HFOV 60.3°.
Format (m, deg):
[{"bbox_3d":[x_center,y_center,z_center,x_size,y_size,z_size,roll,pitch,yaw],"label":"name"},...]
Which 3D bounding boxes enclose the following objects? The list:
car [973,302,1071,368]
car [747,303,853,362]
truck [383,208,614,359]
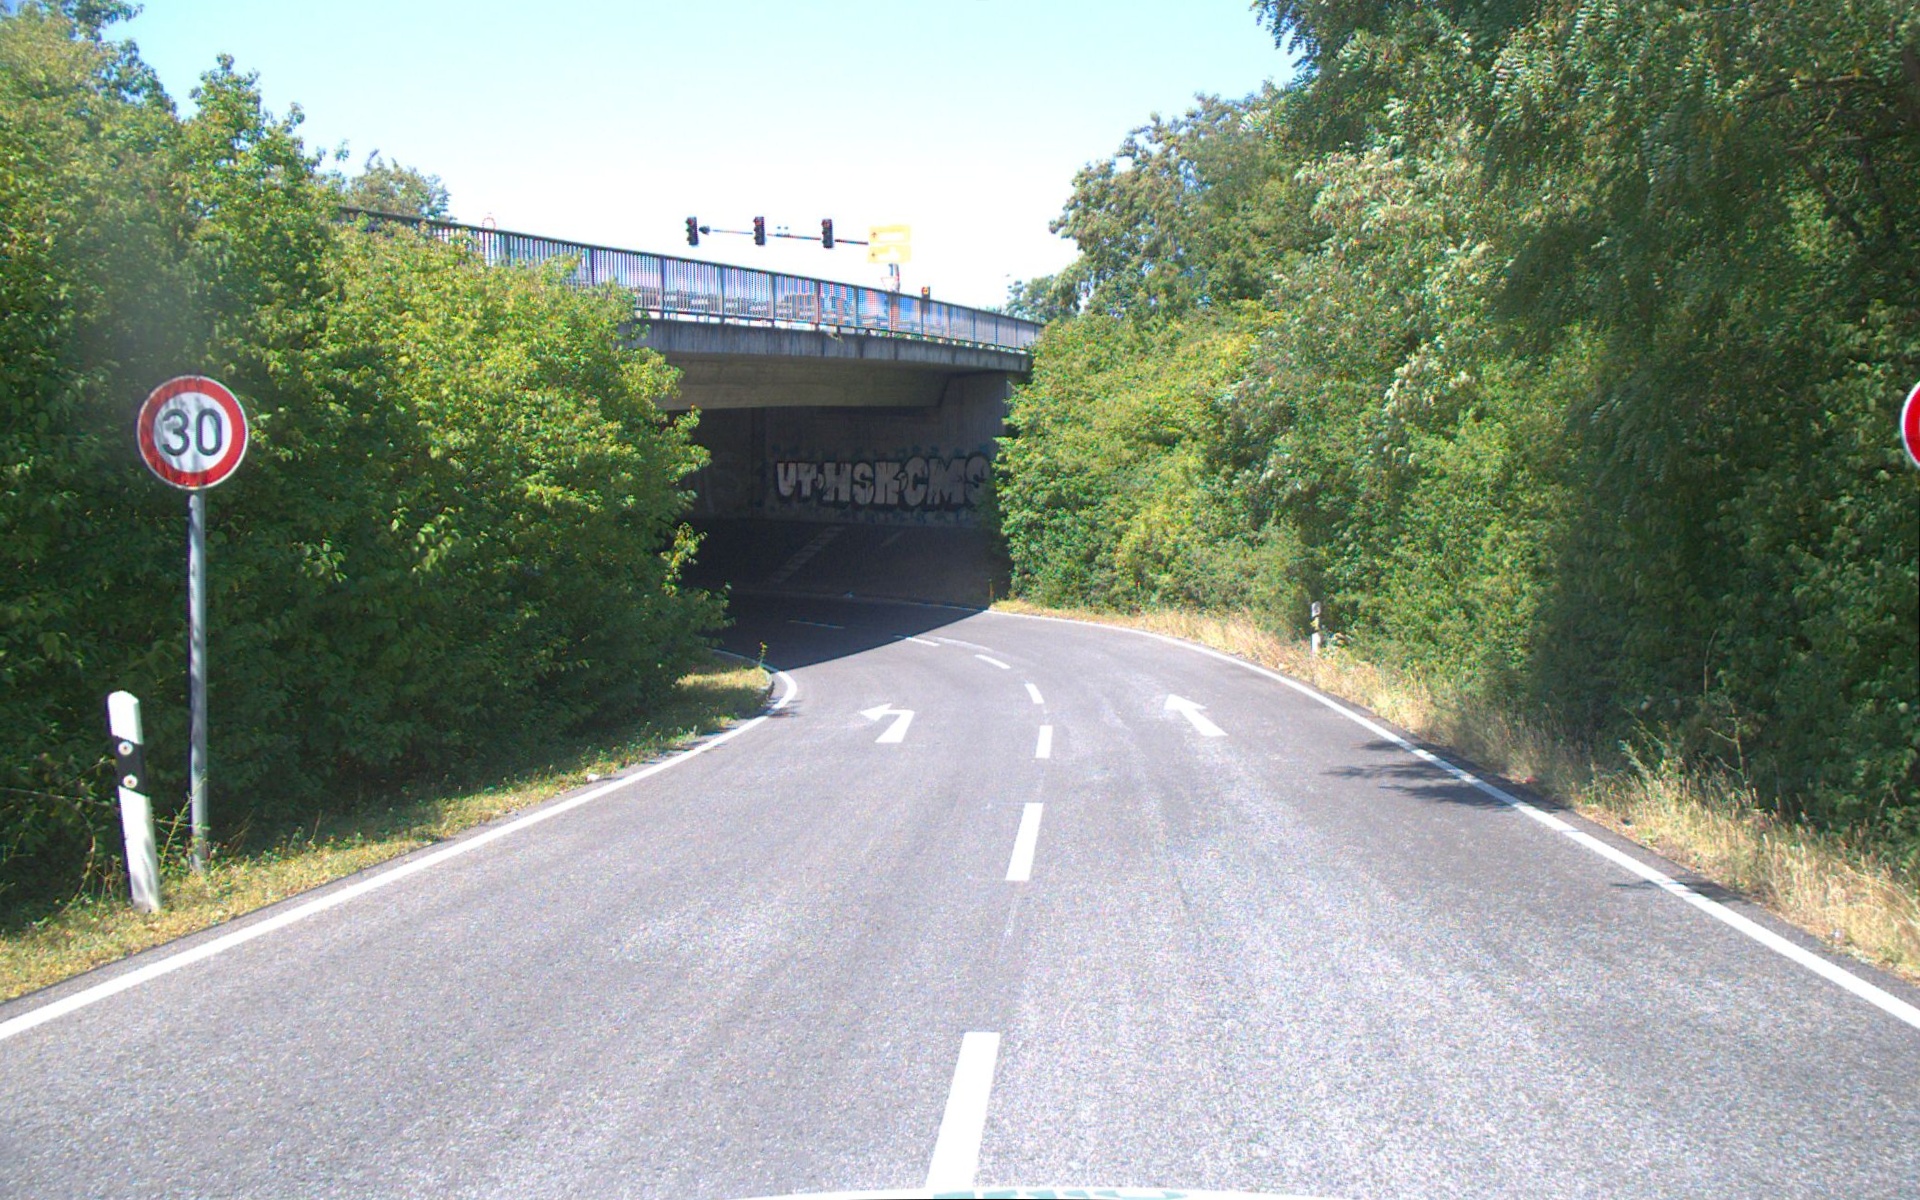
[{"bbox_3d":[2.334,-9.760,61.151,1.957,2.048,3.993,2,5,31],"label":"car"},{"bbox_3d":[-4.115,-6.937,43.132,1.577,1.210,3.483,1,4,16],"label":"car"},{"bbox_3d":[-14.394,-9.849,52.614,2.963,3.650,8.915,0,4,14],"label":"truck"}]
